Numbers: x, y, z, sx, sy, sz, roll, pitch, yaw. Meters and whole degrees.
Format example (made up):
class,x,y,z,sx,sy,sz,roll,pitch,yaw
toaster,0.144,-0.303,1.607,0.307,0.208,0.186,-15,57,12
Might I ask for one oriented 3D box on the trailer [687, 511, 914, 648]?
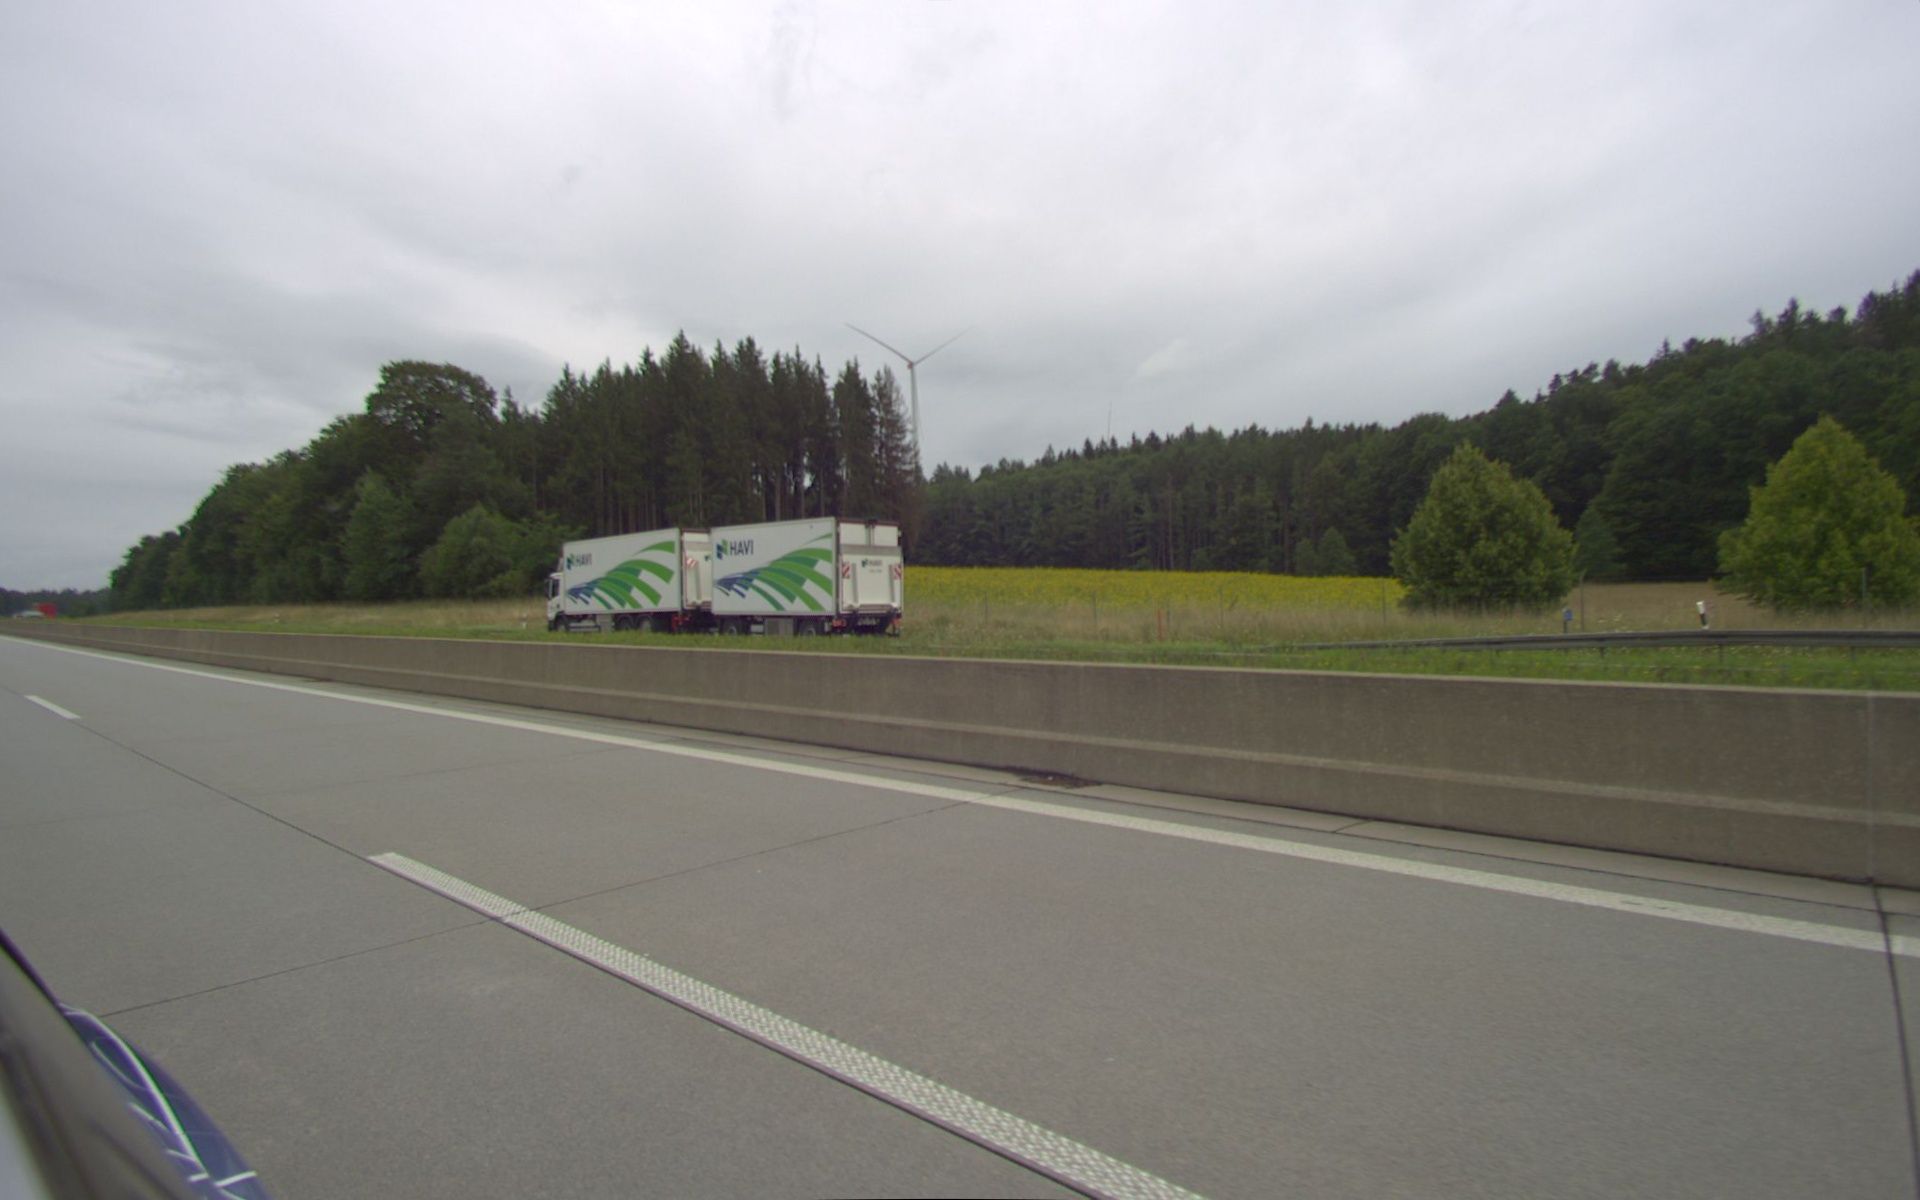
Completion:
class,x,y,z,sx,sy,sz,roll,pitch,yaw
trailer,-5.200,-0.504,31.859,7.714,3.811,2.788,-2,-1,43

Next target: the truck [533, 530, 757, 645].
class,x,y,z,sx,sy,sz,roll,pitch,yaw
truck,-12.263,-0.351,38.393,11.350,3.801,2.782,-1,0,43

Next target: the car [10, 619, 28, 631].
class,x,y,z,sx,sy,sz,roll,pitch,yaw
car,-170.912,4.551,183.786,5.624,1.970,1.973,-2,-1,42

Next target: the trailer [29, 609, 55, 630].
class,x,y,z,sx,sy,sz,roll,pitch,yaw
trailer,-178.869,3.872,197.095,14.380,3.974,2.579,-2,-1,44
